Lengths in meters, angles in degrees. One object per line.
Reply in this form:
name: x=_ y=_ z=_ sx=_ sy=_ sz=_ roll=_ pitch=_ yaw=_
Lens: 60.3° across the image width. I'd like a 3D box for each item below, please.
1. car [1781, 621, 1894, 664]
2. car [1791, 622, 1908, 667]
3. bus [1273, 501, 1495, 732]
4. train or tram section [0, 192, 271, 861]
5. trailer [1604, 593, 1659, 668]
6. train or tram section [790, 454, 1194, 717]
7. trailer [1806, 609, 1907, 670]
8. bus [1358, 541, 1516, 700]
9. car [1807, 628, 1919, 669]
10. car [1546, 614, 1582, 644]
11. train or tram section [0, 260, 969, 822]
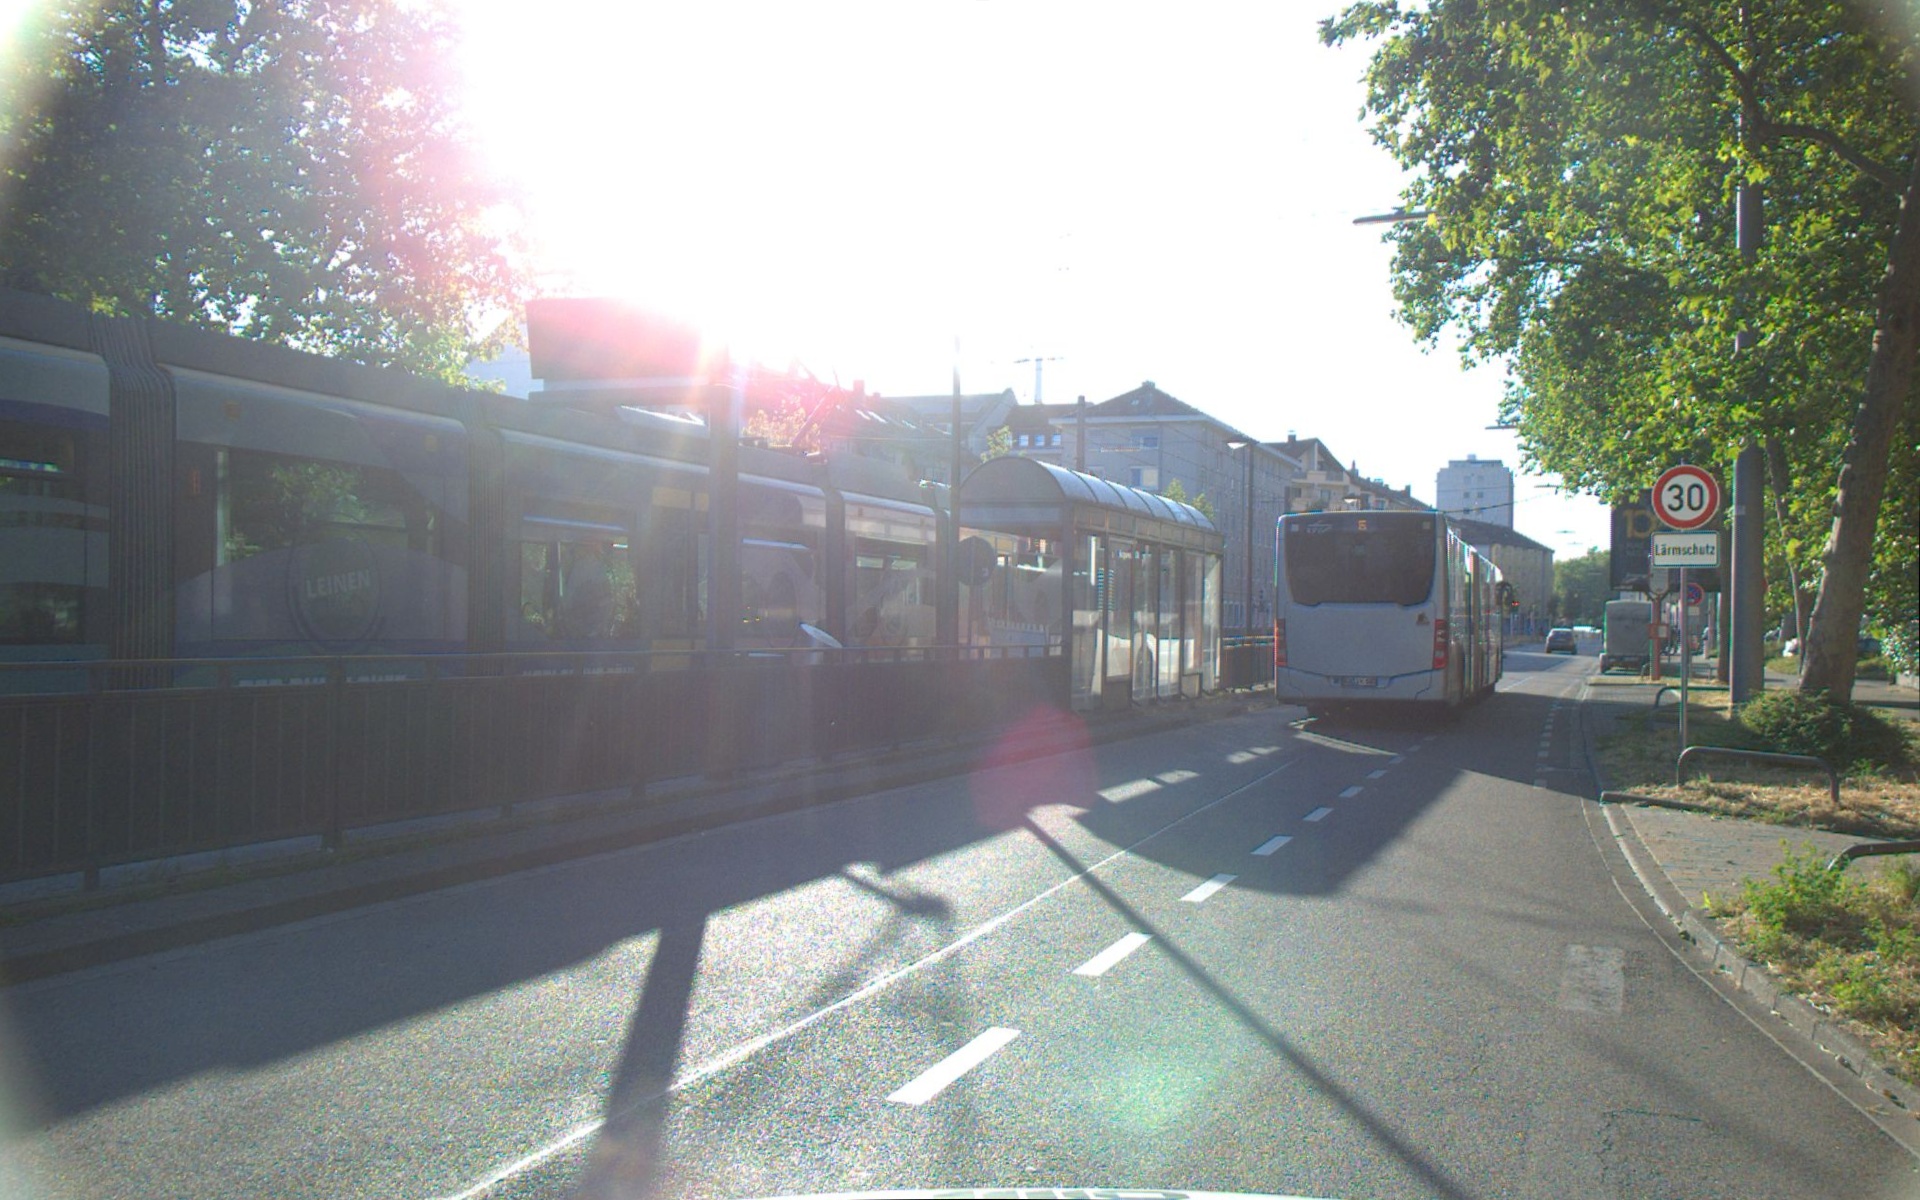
car: x=35.253 y=1.712 z=66.563 sx=3.840 sy=1.666 sz=1.706 roll=0 pitch=-1 yaw=22
car: x=34.541 y=1.712 z=64.302 sx=3.840 sy=1.665 sz=1.706 roll=0 pitch=-1 yaw=22
bus: x=7.573 y=0.262 z=28.341 sx=2.677 sy=3.194 sz=10.705 roll=1 pitch=0 yaw=20
train or tram section: x=-8.225 y=-0.471 z=4.936 sx=2.791 sy=3.595 sz=13.394 roll=0 pitch=-1 yaw=22
trailer: x=24.230 y=1.098 z=59.726 sx=1.795 sy=2.602 sz=3.318 roll=0 pitch=-1 yaw=22
train or tram section: x=1.267 y=-0.114 z=29.166 sx=2.586 sy=3.581 sz=13.331 roll=0 pitch=-1 yaw=22
trailer: x=32.224 y=1.395 z=59.556 sx=3.002 sy=2.106 sz=1.878 roll=1 pitch=-1 yaw=23
bus: x=10.995 y=0.441 z=37.527 sx=2.653 sy=3.161 sz=8.979 roll=1 pitch=0 yaw=21
car: x=31.413 y=1.668 z=56.976 sx=3.841 sy=1.359 sz=1.705 roll=0 pitch=-1 yaw=23
car: x=39.014 y=1.841 z=106.803 sx=1.953 sy=1.847 sz=3.999 roll=1 pitch=0 yaw=23
train or tram section: x=-3.488 y=-0.304 z=17.071 sx=2.673 sy=3.611 sz=12.783 roll=0 pitch=-1 yaw=22
